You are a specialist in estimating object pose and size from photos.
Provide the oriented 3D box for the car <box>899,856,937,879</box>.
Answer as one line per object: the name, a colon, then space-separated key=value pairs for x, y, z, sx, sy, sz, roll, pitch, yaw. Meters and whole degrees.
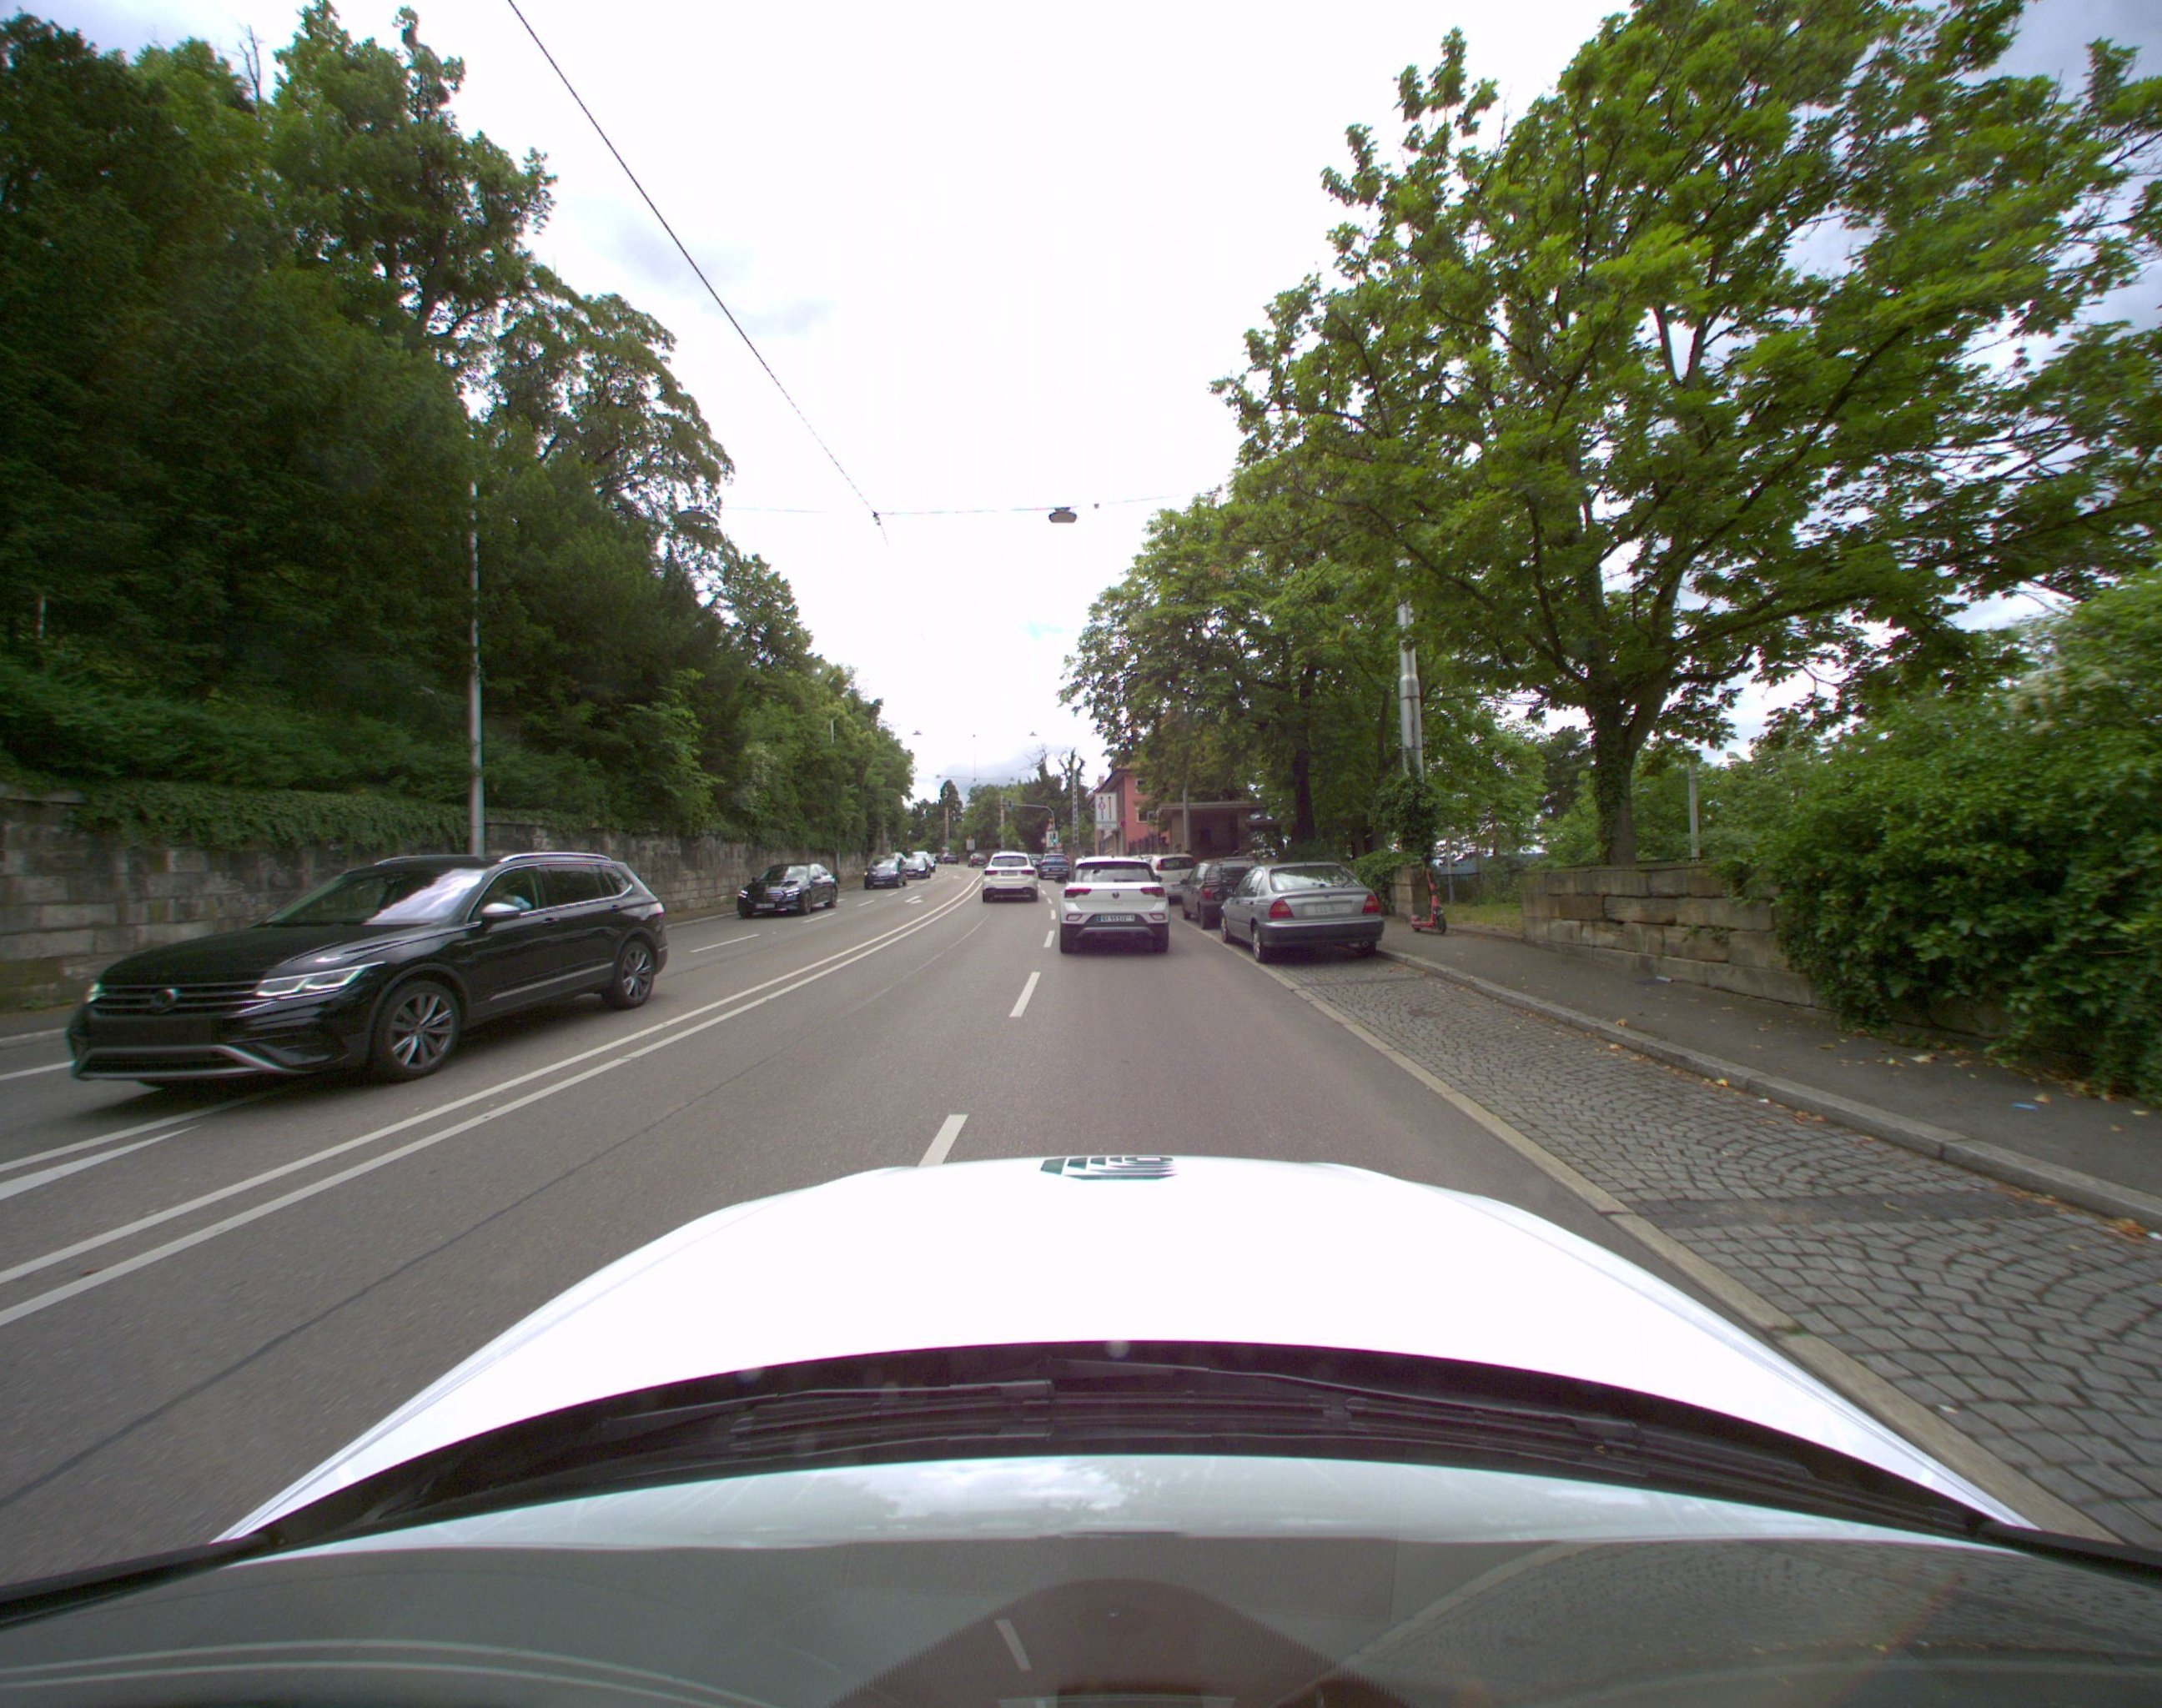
car: x=-10.734 y=0.882 z=53.933 sx=1.839 sy=1.409 sz=4.450 roll=-2 pitch=0 yaw=-3

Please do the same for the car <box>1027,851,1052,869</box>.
car: x=-3.413 y=0.507 z=66.783 sx=1.989 sy=1.450 sz=4.145 roll=-1 pitch=-1 yaw=-4

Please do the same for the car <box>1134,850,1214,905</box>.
car: x=2.858 y=0.677 z=25.853 sx=1.712 sy=1.471 sz=4.033 roll=-5 pitch=1 yaw=-4

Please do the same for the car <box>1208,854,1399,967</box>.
car: x=3.274 y=0.758 z=12.959 sx=1.764 sy=1.399 sz=4.550 roll=-3 pitch=-1 yaw=0

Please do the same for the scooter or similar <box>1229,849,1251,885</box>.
scooter or similar: x=5.731 y=0.452 z=29.374 sx=0.515 sy=1.260 sz=1.168 roll=-4 pitch=0 yaw=0

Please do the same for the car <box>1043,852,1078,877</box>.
car: x=-1.243 y=0.631 z=49.108 sx=1.988 sy=1.414 sz=4.148 roll=-2 pitch=-1 yaw=-1

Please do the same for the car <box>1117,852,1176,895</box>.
car: x=2.465 y=0.721 z=31.517 sx=1.671 sy=1.461 sz=4.361 roll=-3 pitch=0 yaw=-3

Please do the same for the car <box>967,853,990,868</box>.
car: x=-10.773 y=0.676 z=85.213 sx=1.784 sy=1.454 sz=3.978 roll=0 pitch=-1 yaw=-16

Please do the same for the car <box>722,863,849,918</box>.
car: x=-8.654 y=1.009 z=24.384 sx=1.996 sy=1.409 sz=4.754 roll=-2 pitch=0 yaw=0

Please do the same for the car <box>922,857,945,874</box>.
car: x=-13.114 y=1.023 z=72.433 sx=1.559 sy=1.402 sz=4.246 roll=-3 pitch=0 yaw=-5

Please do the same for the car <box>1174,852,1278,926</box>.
car: x=3.188 y=0.733 z=18.453 sx=1.557 sy=1.422 sz=3.421 roll=-4 pitch=0 yaw=-2

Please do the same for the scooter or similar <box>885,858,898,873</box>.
scooter or similar: x=-16.735 y=0.997 z=71.916 sx=0.429 sy=1.237 sz=1.105 roll=2 pitch=-2 yaw=35

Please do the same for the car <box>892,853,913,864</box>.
car: x=-26.521 y=0.623 z=120.965 sx=1.860 sy=1.632 sz=4.320 roll=-1 pitch=0 yaw=-29

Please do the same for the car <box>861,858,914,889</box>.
car: x=-9.740 y=0.937 z=41.228 sx=1.838 sy=1.436 sz=3.996 roll=-2 pitch=0 yaw=-2

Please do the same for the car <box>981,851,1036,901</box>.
car: x=-2.455 y=0.744 z=28.351 sx=1.754 sy=1.609 sz=3.791 roll=0 pitch=-1 yaw=-3

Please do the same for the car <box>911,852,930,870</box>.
car: x=-17.189 y=0.768 z=86.907 sx=1.894 sy=1.848 sz=4.378 roll=1 pitch=-1 yaw=-12

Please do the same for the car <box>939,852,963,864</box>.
car: x=-18.366 y=0.537 z=114.817 sx=2.006 sy=1.575 sz=4.110 roll=0 pitch=-1 yaw=-30

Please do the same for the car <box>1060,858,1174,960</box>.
car: x=0.534 y=0.872 z=14.399 sx=1.752 sy=1.556 sz=3.793 roll=0 pitch=-1 yaw=-1

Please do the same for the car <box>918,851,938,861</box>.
car: x=-23.847 y=0.385 z=126.977 sx=2.005 sy=1.450 sz=4.112 roll=-1 pitch=-1 yaw=-28

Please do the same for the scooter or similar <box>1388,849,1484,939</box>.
scooter or similar: x=5.535 y=0.594 z=12.826 sx=0.559 sy=1.244 sz=2.000 roll=-6 pitch=-1 yaw=2

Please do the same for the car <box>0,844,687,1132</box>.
car: x=-5.611 y=0.833 z=7.249 sx=1.841 sy=1.651 sz=4.624 roll=-3 pitch=-1 yaw=0
